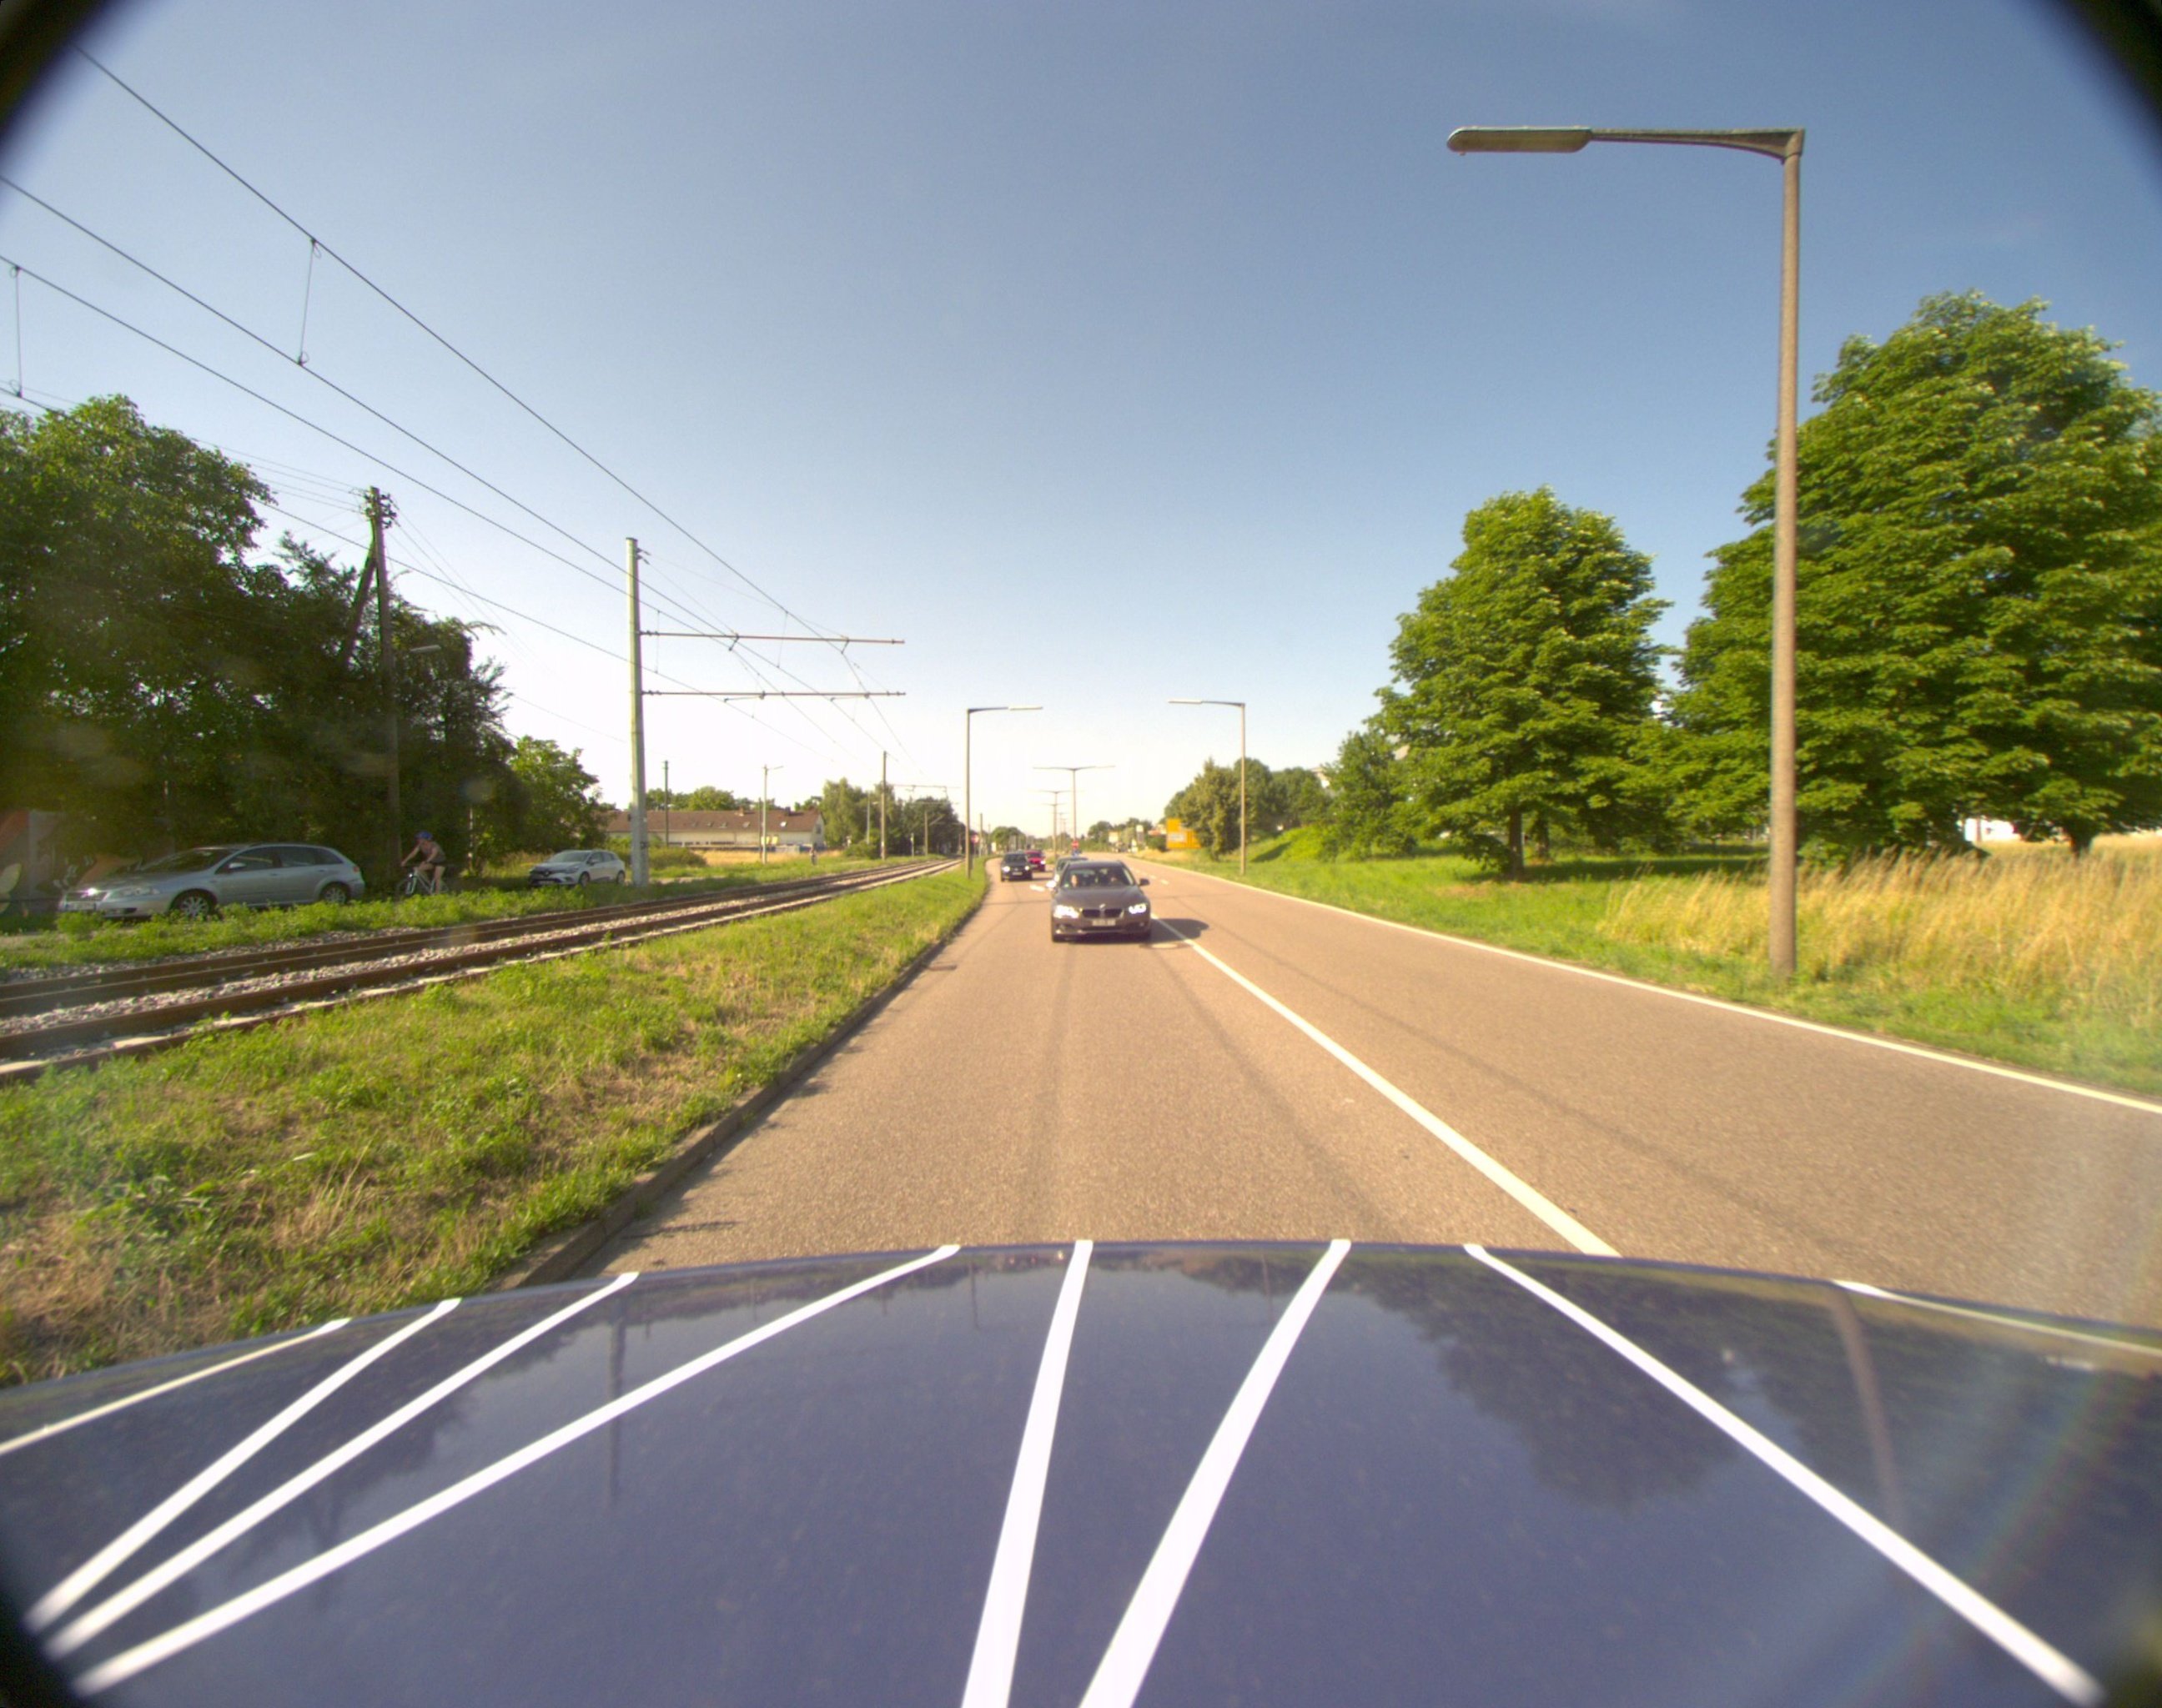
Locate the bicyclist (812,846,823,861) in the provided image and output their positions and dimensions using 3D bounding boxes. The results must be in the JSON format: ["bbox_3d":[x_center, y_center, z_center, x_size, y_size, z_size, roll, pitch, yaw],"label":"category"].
[{"bbox_3d":[-22.769,-0.047,65.635,0.641,1.226,0.791,-2,1,-4],"label":"bicyclist"}]

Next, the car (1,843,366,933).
[{"bbox_3d":[-18.009,0.592,15.730,1.912,1.581,4.727,0,0,1],"label":"car"}]

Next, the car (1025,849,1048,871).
[{"bbox_3d":[-3.388,0.426,58.030,1.607,1.504,4.266,-2,0,-3],"label":"car"}]

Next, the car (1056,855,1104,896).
[{"bbox_3d":[-0.040,0.791,30.128,1.711,1.444,4.589,-2,0,0],"label":"car"}]

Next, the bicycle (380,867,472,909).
[{"bbox_3d":[-15.919,0.807,18.532,0.644,0.904,1.843,-1,1,-2],"label":"bicycle"}]

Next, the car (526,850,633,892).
[{"bbox_3d":[-18.522,0.568,28.291,1.539,1.440,4.128,0,0,-6],"label":"car"}]

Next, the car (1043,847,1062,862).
[{"bbox_3d":[-3.097,0.054,82.327,1.968,1.504,4.806,-1,1,-3],"label":"car"}]

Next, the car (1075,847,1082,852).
[{"bbox_3d":[-0.784,-1.301,230.423,1.564,1.369,3.382,-3,2,-8],"label":"car"}]

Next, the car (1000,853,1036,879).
[{"bbox_3d":[-3.624,0.664,44.253,1.848,1.347,4.153,-2,0,-3],"label":"car"}]

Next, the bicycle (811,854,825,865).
[{"bbox_3d":[-22.751,0.471,65.662,0.644,0.904,1.813,-2,1,-3],"label":"bicycle"}]

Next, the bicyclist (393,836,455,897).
[{"bbox_3d":[-15.931,0.289,18.441,0.631,1.414,0.962,-1,1,-2],"label":"bicyclist"}]

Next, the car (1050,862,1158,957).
[{"bbox_3d":[0.328,0.934,14.439,1.747,1.444,3.946,-1,0,-2],"label":"car"}]
